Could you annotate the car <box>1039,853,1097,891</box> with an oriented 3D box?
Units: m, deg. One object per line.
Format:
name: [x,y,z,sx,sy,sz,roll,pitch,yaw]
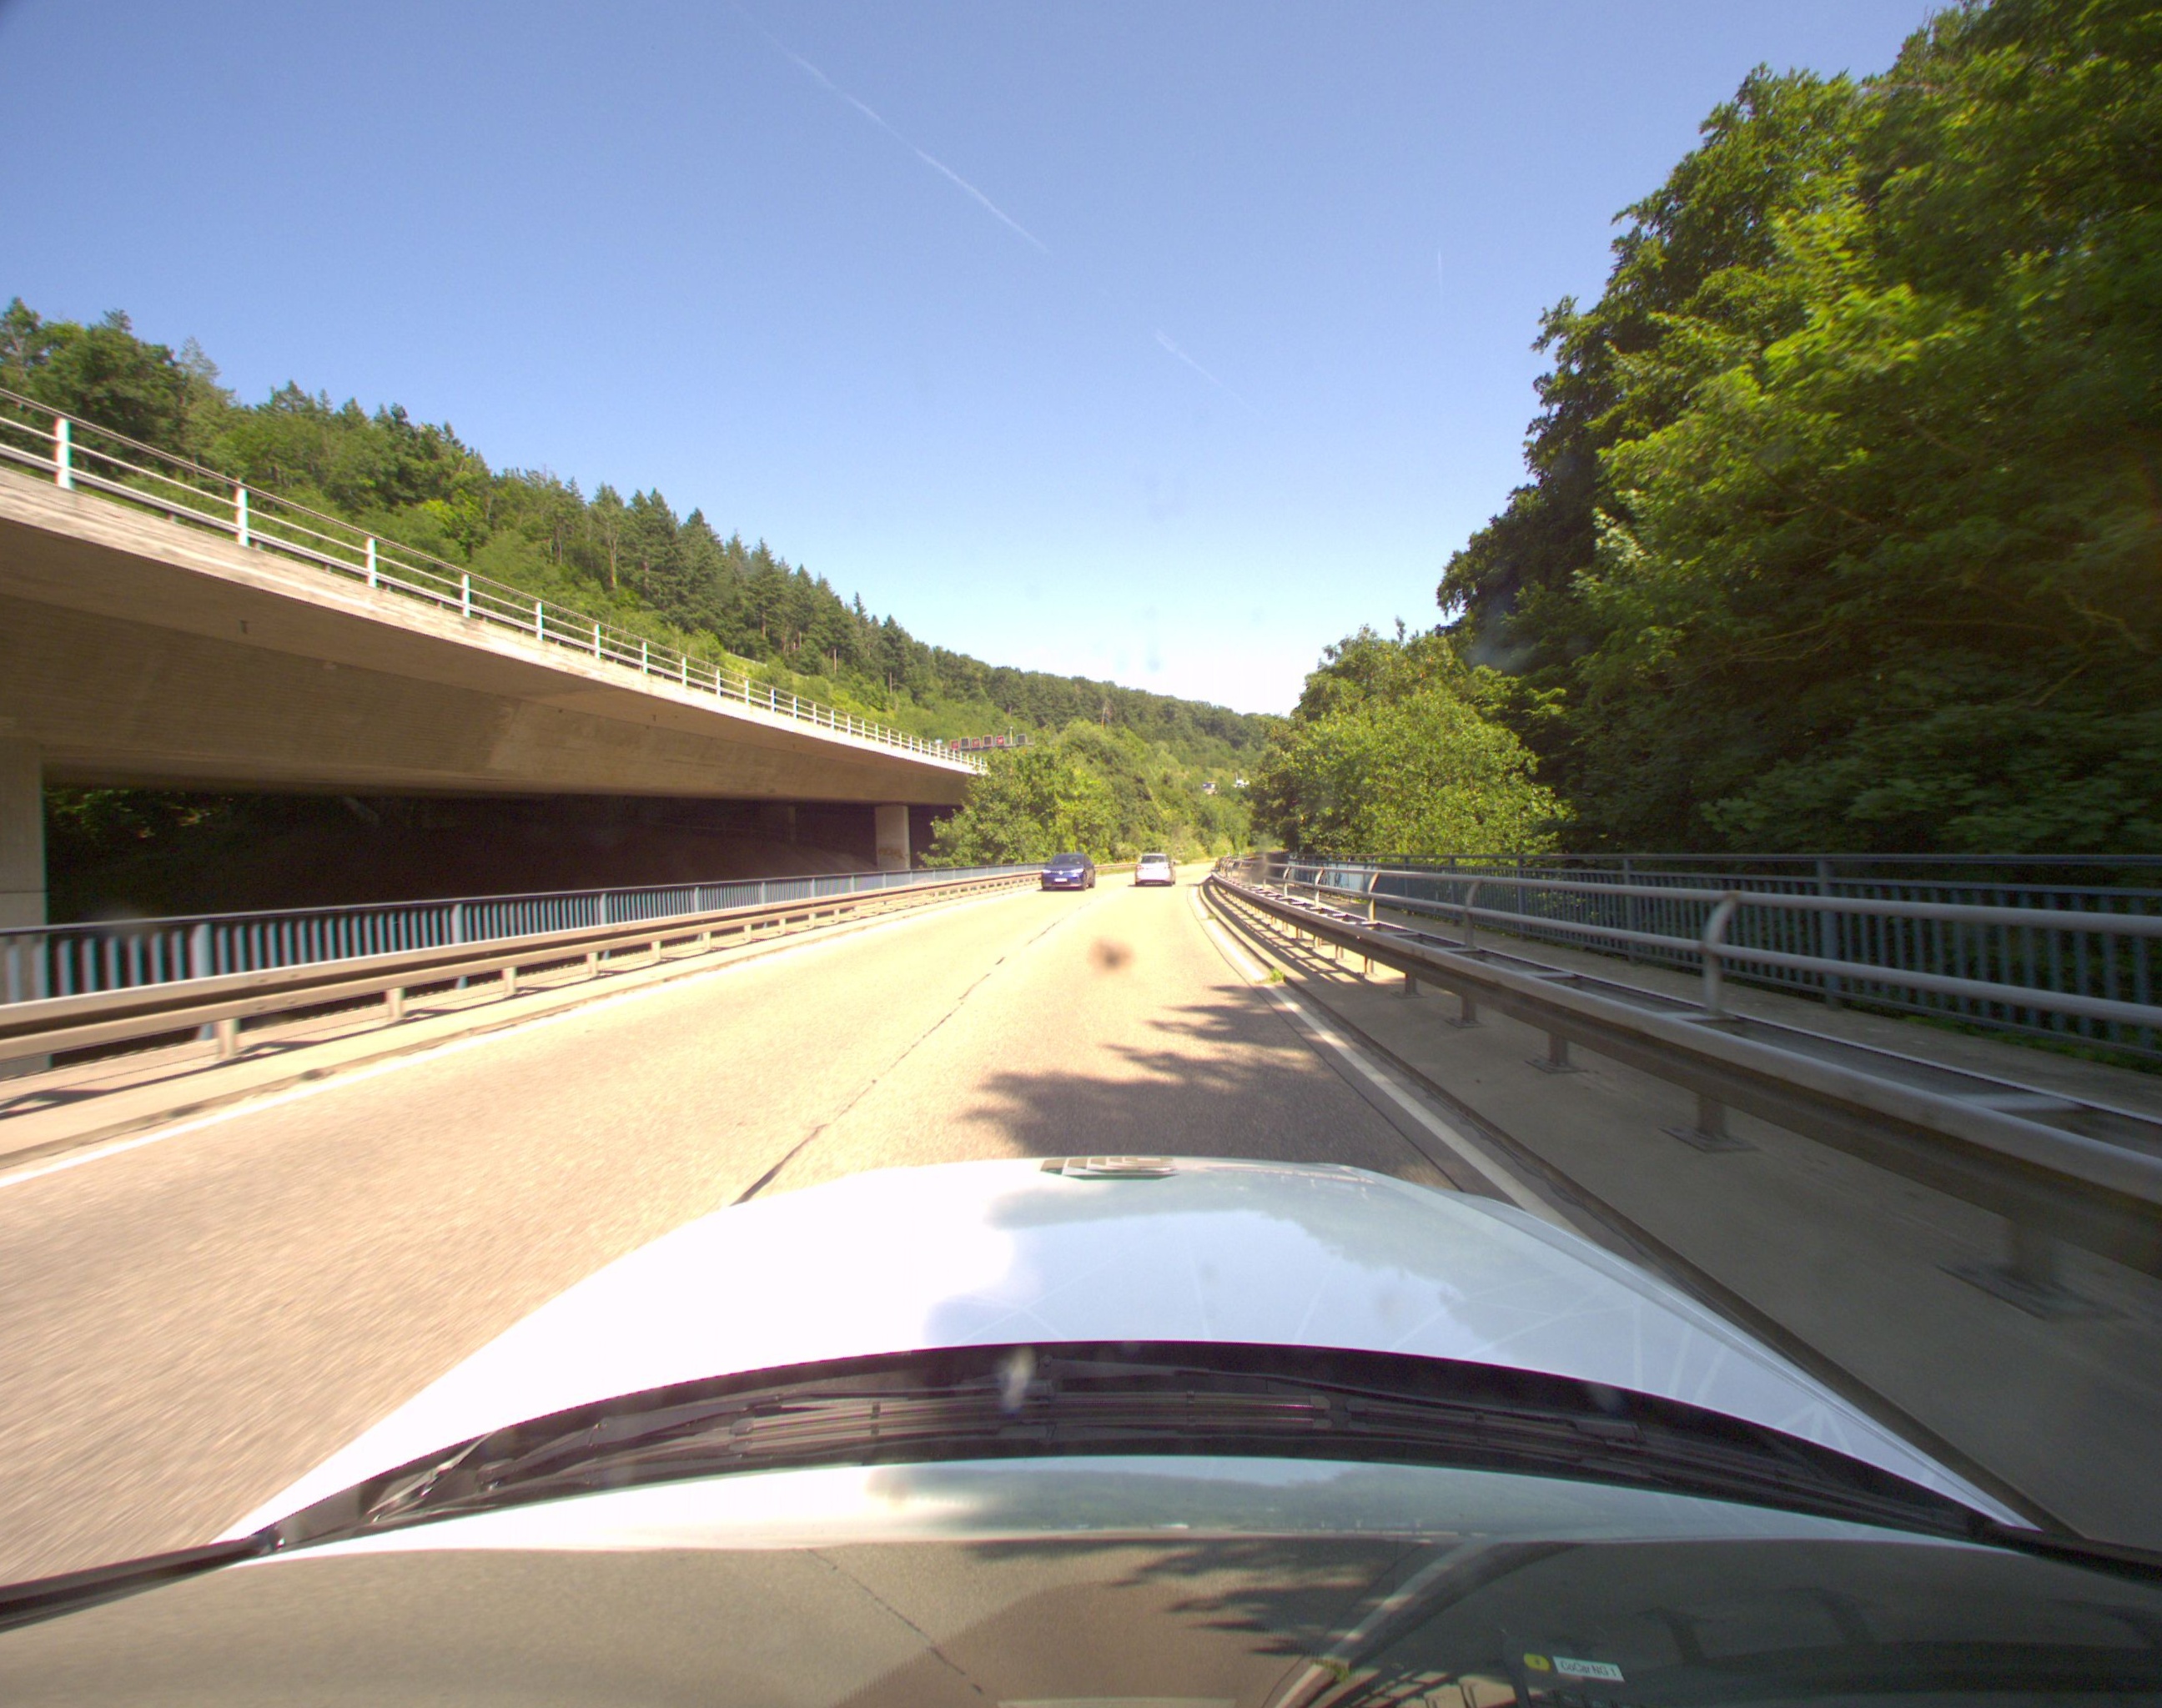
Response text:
car: [-0.499,0.748,35.995,1.888,1.581,4.564,-1,0,8]

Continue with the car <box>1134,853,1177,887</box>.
car: [3.639,0.734,39.136,1.741,1.520,4.169,-1,-1,9]
